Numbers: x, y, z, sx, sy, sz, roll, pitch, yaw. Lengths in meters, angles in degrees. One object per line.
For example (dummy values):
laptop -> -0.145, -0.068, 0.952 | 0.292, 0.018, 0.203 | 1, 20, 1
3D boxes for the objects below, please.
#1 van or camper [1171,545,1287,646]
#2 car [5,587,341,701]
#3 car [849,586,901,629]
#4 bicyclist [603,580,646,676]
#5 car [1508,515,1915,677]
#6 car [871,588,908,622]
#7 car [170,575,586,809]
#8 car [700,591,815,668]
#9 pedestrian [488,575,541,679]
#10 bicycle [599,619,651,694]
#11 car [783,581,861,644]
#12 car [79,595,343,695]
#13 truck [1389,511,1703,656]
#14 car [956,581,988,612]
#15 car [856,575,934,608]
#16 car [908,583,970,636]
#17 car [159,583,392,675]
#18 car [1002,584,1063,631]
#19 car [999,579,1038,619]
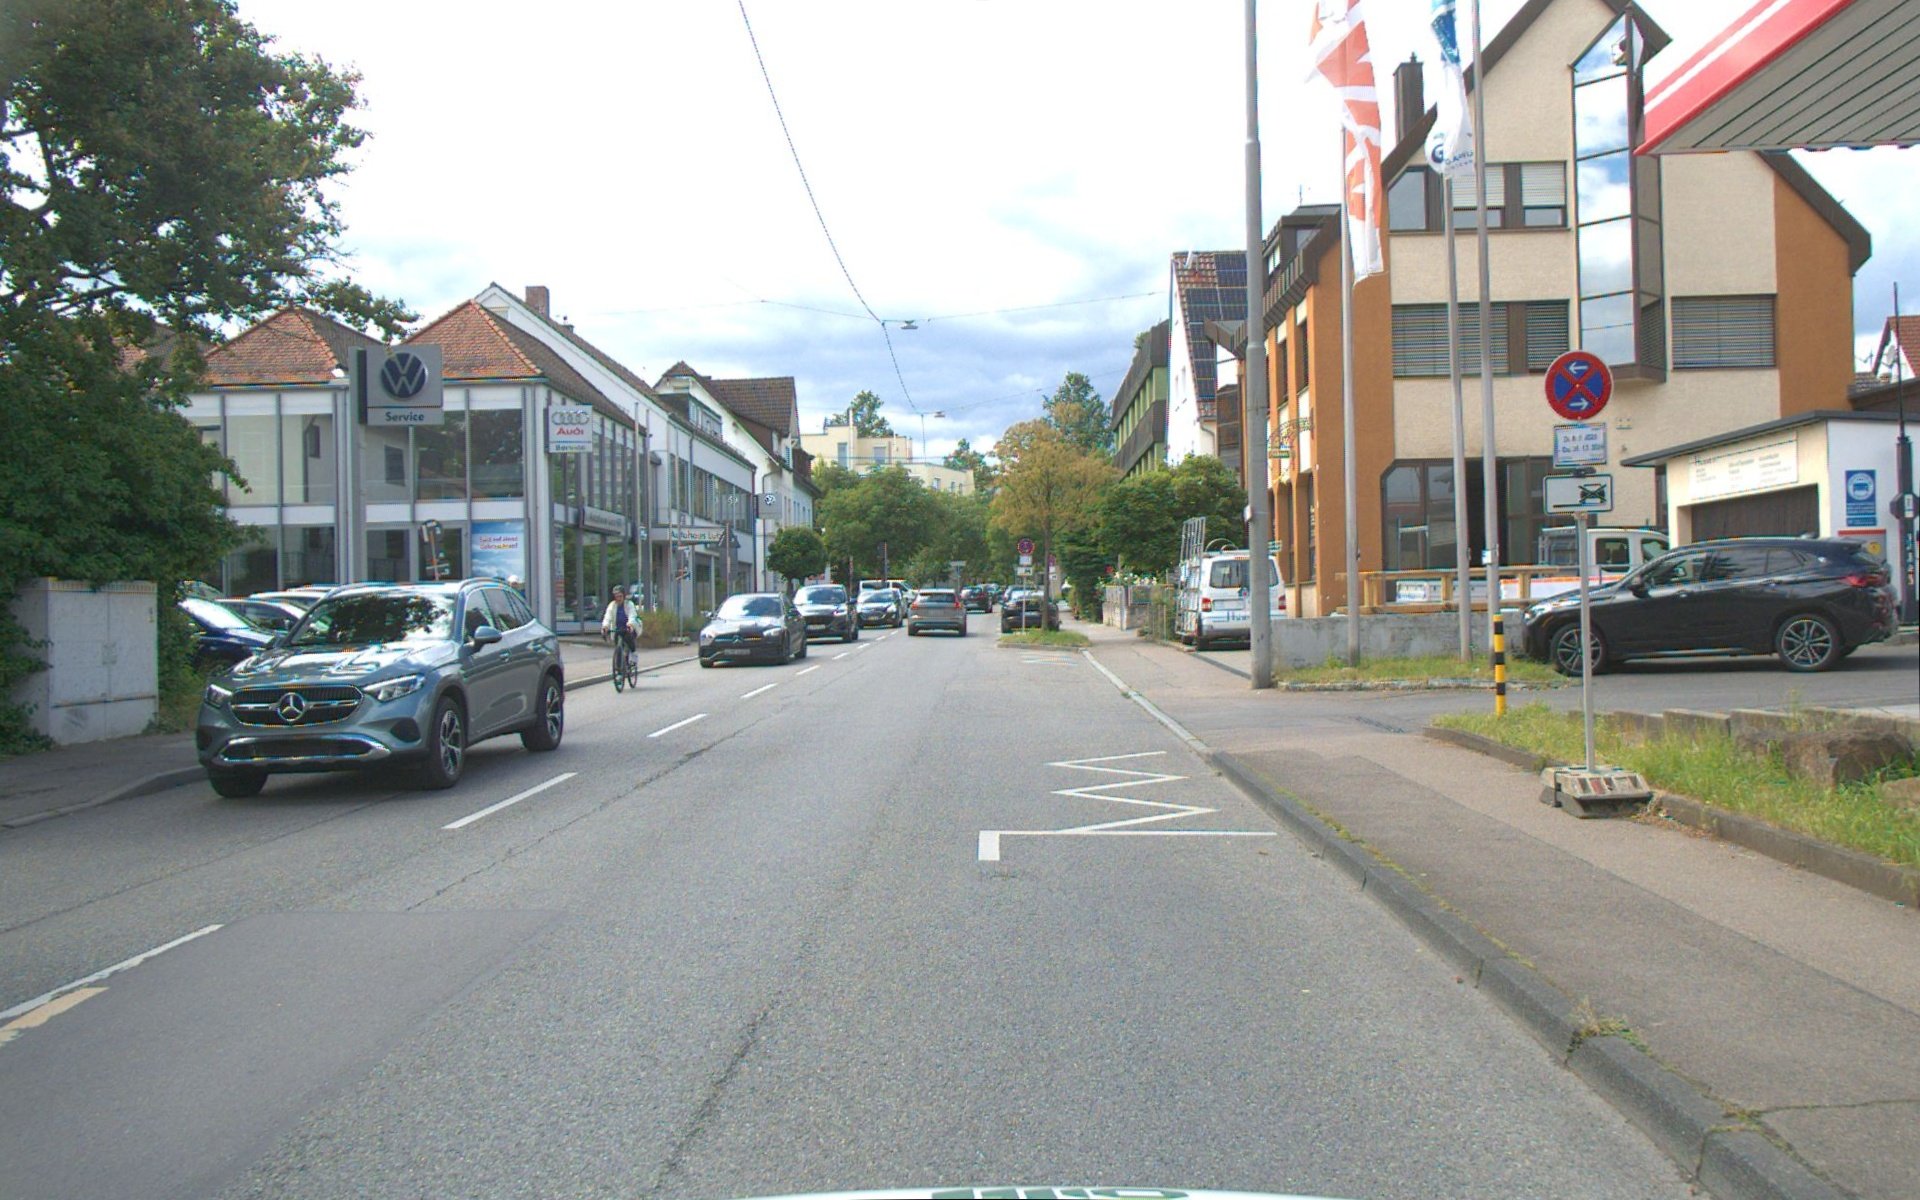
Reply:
van or camper -> 5.798, -0.074, 36.143 | 1.828, 2.067, 4.547 | 0, -1, 0
car -> -11.899, 0.639, 25.202 | 4.200, 1.669, 1.904 | 0, 0, 2
car -> -3.173, 0.287, 62.560 | 1.794, 1.550, 4.169 | -2, 0, -1
bicyclist -> -5.342, 0.438, 26.362 | 0.460, 1.474, 0.864 | -3, 0, -2
car -> 9.163, -0.017, 20.323 | 4.234, 1.658, 1.629 | -4, 1, 37
car -> -3.508, 0.261, 82.974 | 1.655, 1.607, 3.800 | -2, 0, 0
car -> -4.814, 0.650, 14.481 | 1.827, 1.646, 4.537 | -2, 1, 2
car -> -4.218, 0.574, 35.113 | 1.704, 1.454, 4.525 | -2, 0, 2
pedestrian -> -7.706, 0.461, 28.641 | 0.668, 1.767, 0.868 | 0, -1, 1
bicycle -> -5.304, 0.877, 26.235 | 0.445, 1.105, 1.869 | -3, 0, -2
car -> -3.909, 0.314, 47.525 | 1.793, 1.658, 4.321 | -2, 1, 1
car -> -12.675, 0.736, 28.156 | 3.663, 1.545, 1.729 | -1, 0, -1
truck -> 10.726, -0.323, 30.592 | 4.982, 2.500, 2.358 | -1, 1, 1
car -> 0.638, -0.173, 89.495 | 1.582, 1.550, 3.568 | -2, 0, -1
car -> -4.677, -0.599, 118.901 | 5.104, 2.028, 2.109 | -3, 0, 20
car -> -0.645, 0.337, 53.194 | 1.916, 1.550, 4.328 | -1, -2, 0
car -> -12.693, 0.519, 30.798 | 3.663, 1.587, 1.534 | 1, 0, -1
car -> 2.431, 0.262, 56.417 | 1.943, 1.473, 4.752 | -2, 0, 1
car -> 2.711, -0.034, 75.660 | 1.654, 1.695, 4.464 | -2, 0, 3
